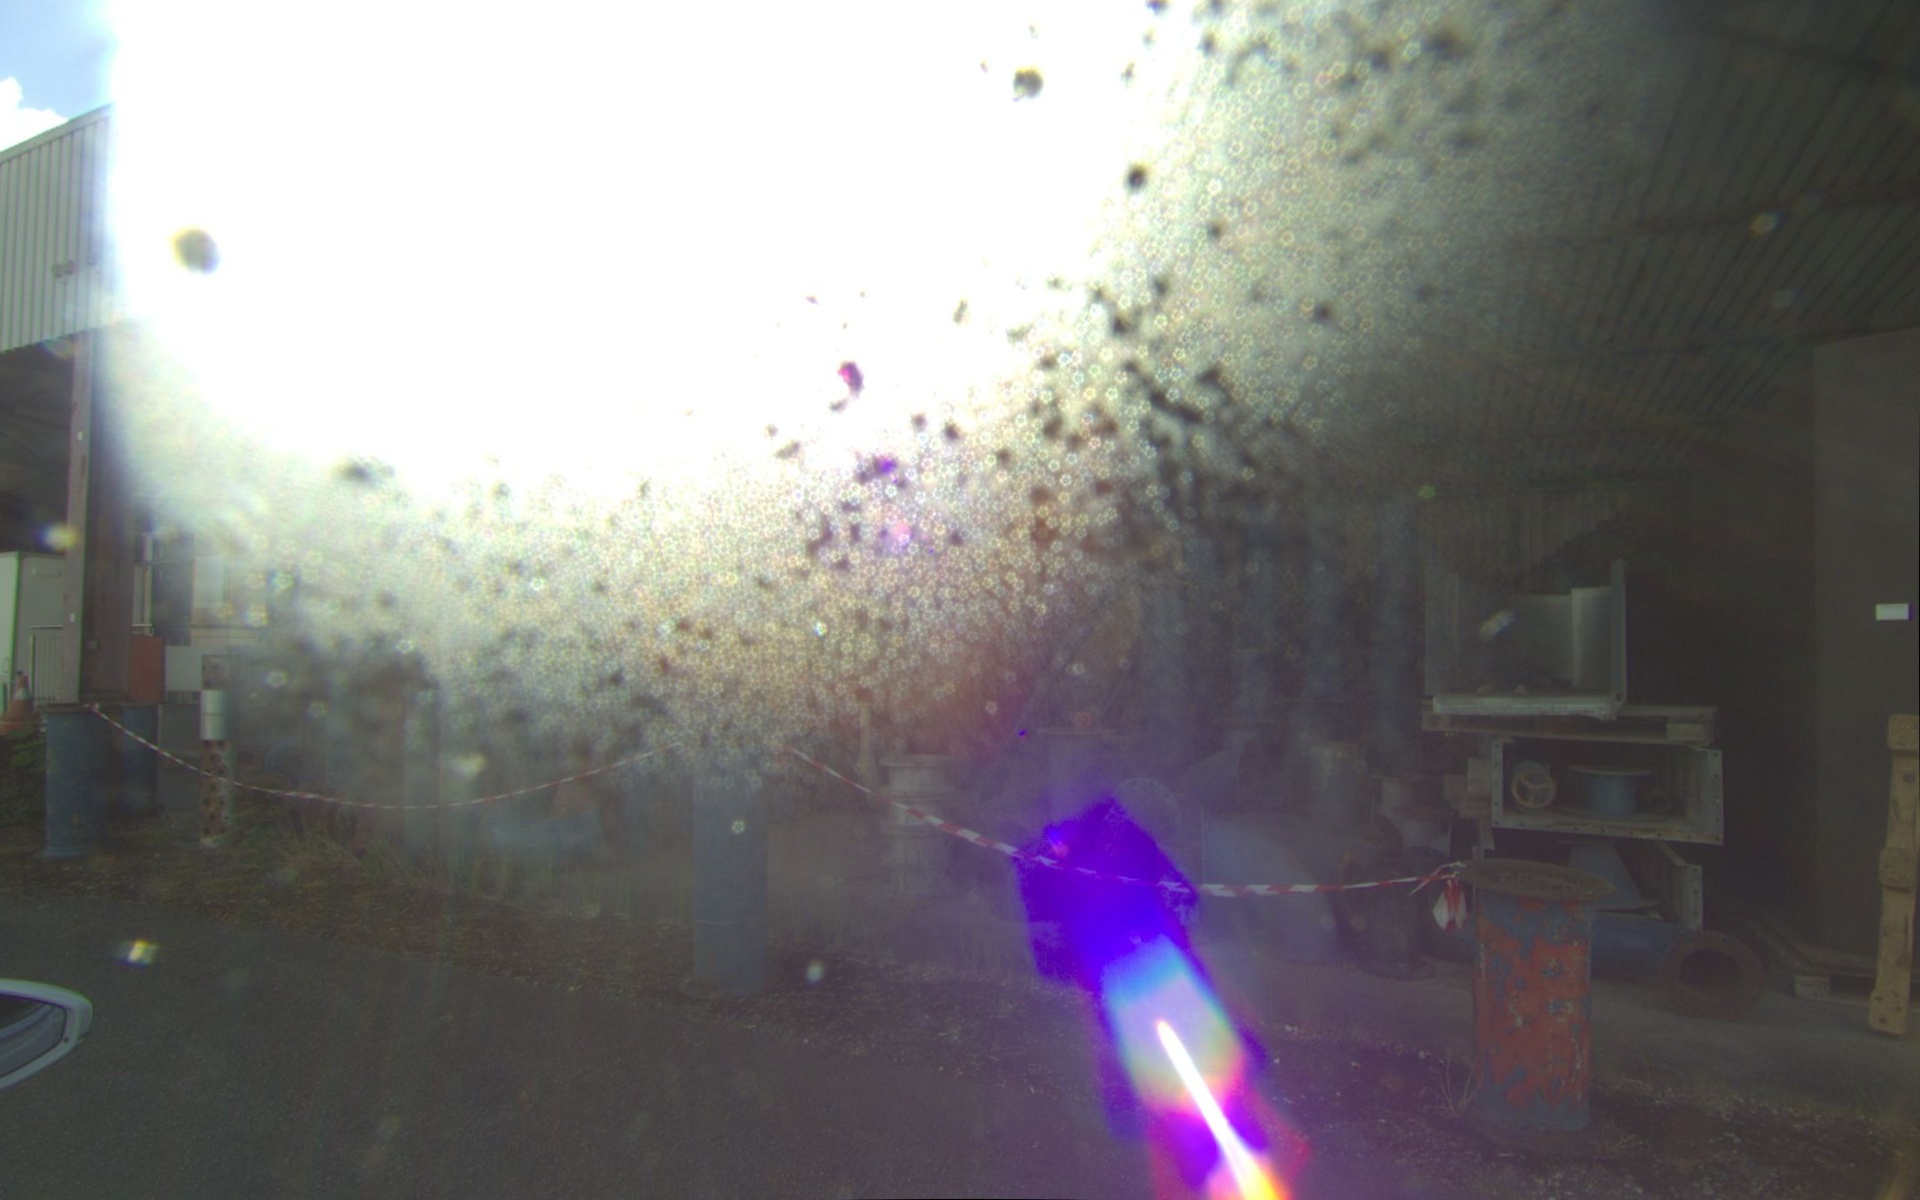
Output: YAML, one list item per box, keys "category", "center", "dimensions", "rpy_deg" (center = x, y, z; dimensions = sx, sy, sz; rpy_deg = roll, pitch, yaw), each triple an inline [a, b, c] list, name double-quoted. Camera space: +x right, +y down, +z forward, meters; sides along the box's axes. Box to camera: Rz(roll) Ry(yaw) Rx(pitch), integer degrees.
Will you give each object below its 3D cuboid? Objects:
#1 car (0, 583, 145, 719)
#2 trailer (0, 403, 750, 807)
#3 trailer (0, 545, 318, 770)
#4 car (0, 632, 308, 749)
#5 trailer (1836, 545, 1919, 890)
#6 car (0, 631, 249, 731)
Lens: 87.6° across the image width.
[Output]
- category: "car"
  center: [-17.541, 0.867, 17.104]
  dimensions: [2.050, 2.326, 5.220]
  rpy_deg: [-1, -3, 24]
- category: "trailer"
  center: [-7.037, 0.203, 13.141]
  dimensions: [2.632, 3.337, 10.294]
  rpy_deg: [0, -2, 26]
- category: "trailer"
  center: [-10.397, 0.650, 11.829]
  dimensions: [1.661, 2.365, 4.542]
  rpy_deg: [0, -2, 26]
- category: "car"
  center: [-12.060, 1.185, 14.292]
  dimensions: [1.833, 1.451, 4.349]
  rpy_deg: [-1, -2, 22]
- category: "trailer"
  center: [6.088, 0.643, 4.609]
  dimensions: [2.015, 2.022, 4.815]
  rpy_deg: [-1, -2, 28]
- category: "car"
  center: [-14.390, 1.256, 16.404]
  dimensions: [1.820, 1.472, 4.109]
  rpy_deg: [-1, -2, 25]
